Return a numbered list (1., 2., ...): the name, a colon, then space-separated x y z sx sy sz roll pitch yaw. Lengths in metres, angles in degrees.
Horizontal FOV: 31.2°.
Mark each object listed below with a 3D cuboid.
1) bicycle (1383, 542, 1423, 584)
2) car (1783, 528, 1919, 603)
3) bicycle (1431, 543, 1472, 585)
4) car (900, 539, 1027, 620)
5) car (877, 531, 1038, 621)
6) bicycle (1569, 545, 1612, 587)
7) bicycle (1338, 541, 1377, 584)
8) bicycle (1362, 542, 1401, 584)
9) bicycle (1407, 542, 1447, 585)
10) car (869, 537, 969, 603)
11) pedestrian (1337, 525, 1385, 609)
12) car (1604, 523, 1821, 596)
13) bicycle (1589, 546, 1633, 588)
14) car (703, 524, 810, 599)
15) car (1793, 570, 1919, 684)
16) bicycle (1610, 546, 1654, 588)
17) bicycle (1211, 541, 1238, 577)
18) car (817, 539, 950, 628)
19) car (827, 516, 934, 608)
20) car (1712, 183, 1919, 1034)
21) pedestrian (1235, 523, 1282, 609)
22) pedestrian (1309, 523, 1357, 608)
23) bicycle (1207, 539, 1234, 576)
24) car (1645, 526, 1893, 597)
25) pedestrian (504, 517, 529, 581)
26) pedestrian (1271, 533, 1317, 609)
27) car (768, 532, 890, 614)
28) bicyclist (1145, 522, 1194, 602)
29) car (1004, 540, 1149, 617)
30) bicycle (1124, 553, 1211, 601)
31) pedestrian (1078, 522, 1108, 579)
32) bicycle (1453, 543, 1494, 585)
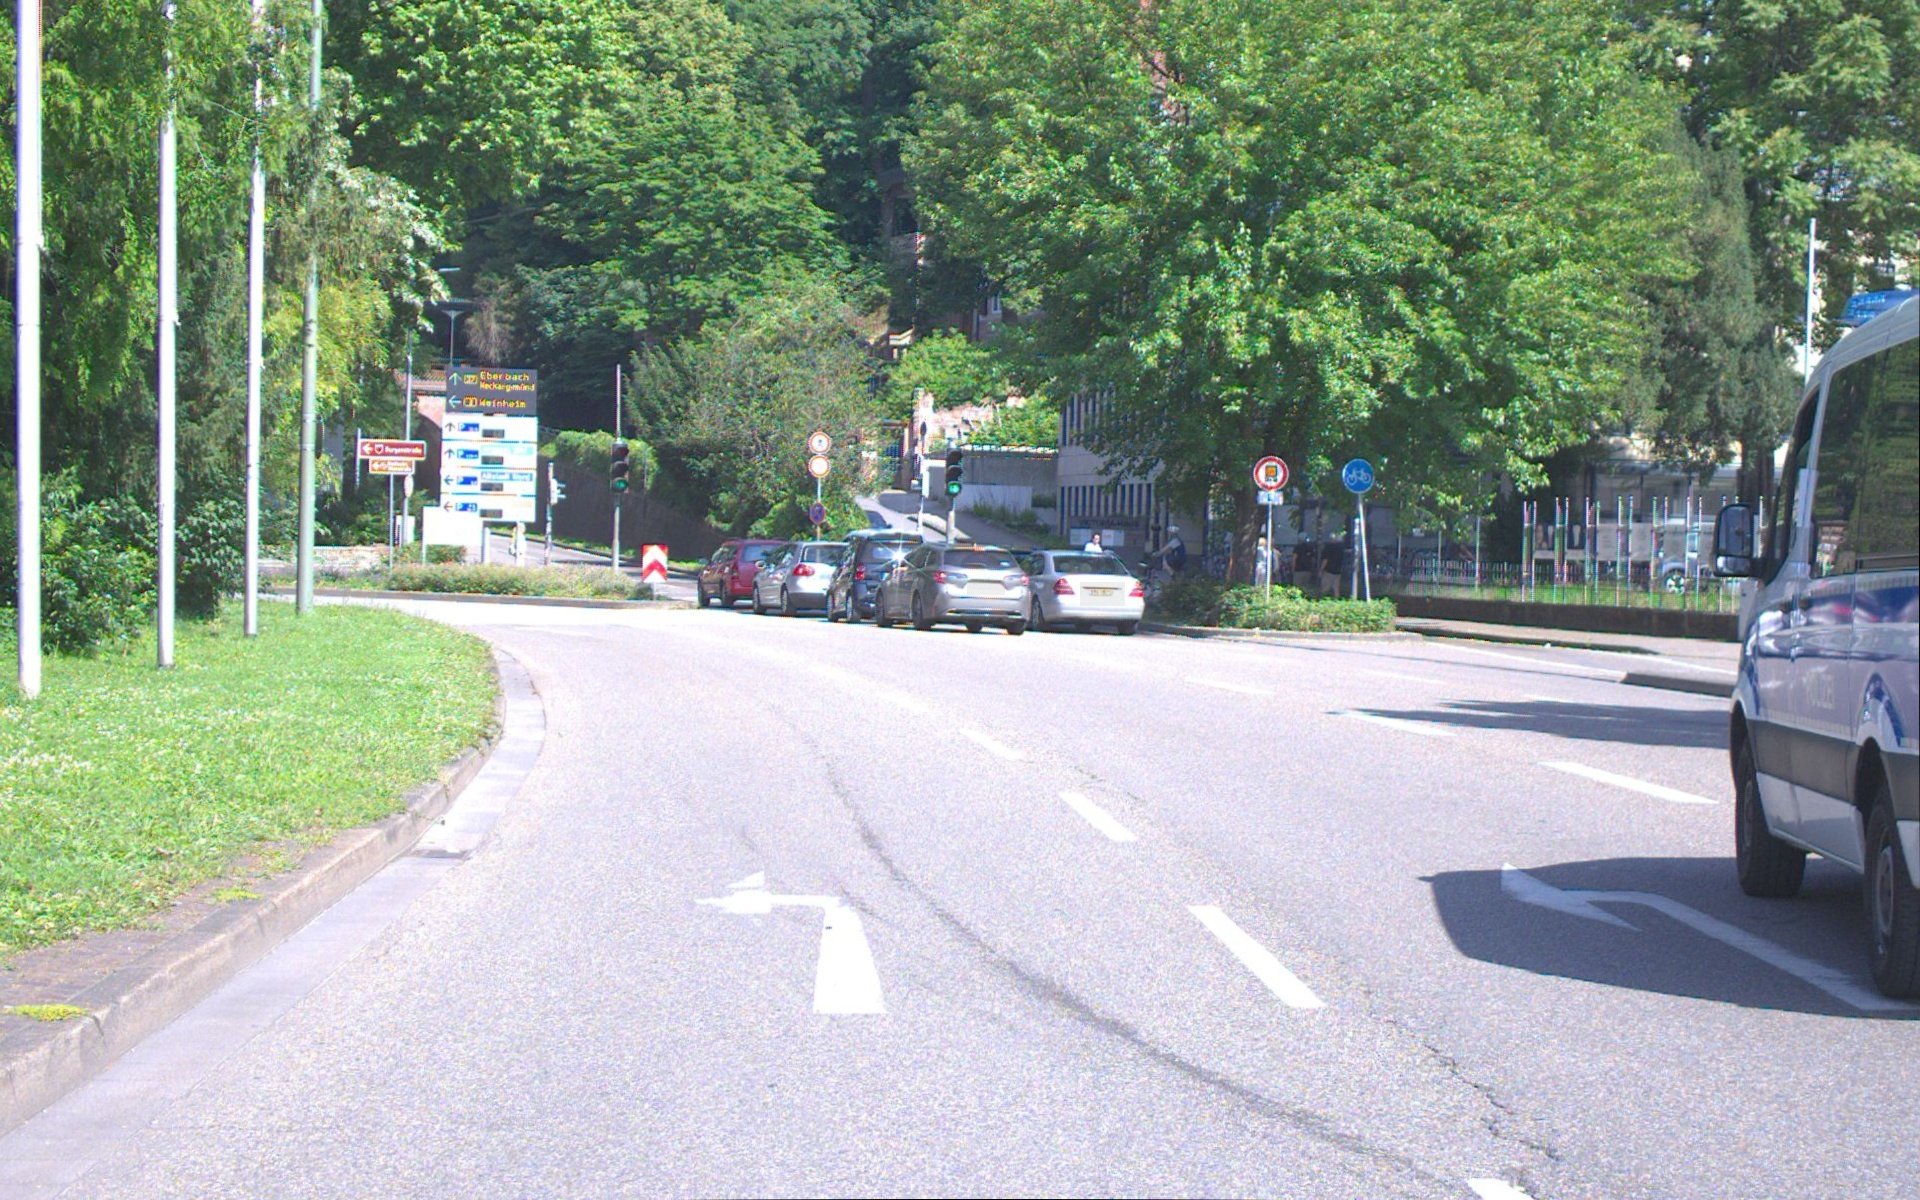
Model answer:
1. bicycle: 11.735 -0.981 91.042 0.537 1.081 1.835 1 1 -9
2. car: 17.788 -0.639 64.656 4.039 1.331 1.861 1 1 -13
3. bicycle: 13.034 -0.961 91.144 0.537 1.081 1.835 1 1 -9
4. car: 0.035 -0.415 67.247 1.755 1.456 3.647 2 1 -11
5. car: -0.079 -0.407 55.443 1.755 1.329 3.803 2 1 -13
6. bicycle: 16.764 -0.904 91.441 0.537 1.081 1.835 1 1 -9
7. bicycle: 10.510 -0.998 90.855 0.537 1.081 1.835 1 1 -9
8. bicycle: 11.148 -0.989 90.945 0.537 1.081 1.835 1 1 -9
9. bicycle: 12.365 -0.970 91.029 0.537 1.081 1.835 1 1 -9
10. car: -1.000 -0.719 82.058 1.755 1.456 3.495 2 1 -11
11. pedestrian: 8.996 -0.750 77.099 0.771 1.848 0.830 2 1 -12
12. car: 16.193 -0.878 74.009 4.141 1.470 1.878 1 1 -15
13. bicycle: 17.349 -0.897 91.607 0.537 1.081 1.835 1 1 -9
14. car: -4.303 -0.824 72.421 1.755 1.456 3.495 2 1 -11
15. car: 13.233 0.356 47.923 1.825 1.456 4.100 3 1 33
16. bicycle: 17.929 -0.889 91.737 0.537 1.081 1.835 1 1 -9
17. bicycle: 7.206 -1.119 93.699 0.405 0.938 1.342 1 2 -10
18. car: -1.391 -0.310 61.366 1.755 1.456 3.495 2 1 -11
19. car: -1.801 -0.862 76.647 1.755 1.931 3.495 2 1 -11
20. car: 4.080 0.032 12.403 2.074 2.500 4.928 2 1 6
21. pedestrian: 6.581 -0.755 75.833 0.771 1.848 0.830 2 1 -9
22. pedestrian: 8.249 -0.768 76.101 0.771 1.848 0.830 2 1 -12
23. bicycle: 7.238 -1.190 95.659 0.405 1.009 1.342 1 2 -10
24. car: 16.258 -0.776 69.153 4.465 1.331 1.822 1 1 -13
25. pedestrian: -11.380 -1.312 88.297 0.547 1.615 0.634 1 2 -2
26. pedestrian: 7.421 -0.641 76.410 0.771 1.657 0.830 2 1 -9
27. car: -2.559 -0.547 66.295 1.755 1.456 3.647 2 1 -11
28. bicyclist: 5.143 -0.947 84.536 1.126 1.926 0.748 2 1 2
29. car: 2.007 -0.393 60.062 1.755 1.209 3.495 2 1 -11
30. bicycle: 5.089 -0.558 84.541 2.076 1.109 0.757 2 1 2
31. pedestrian: 3.392 -1.266 87.756 0.489 1.453 0.734 1 1 -22
32. bicycle: 13.622 -0.953 91.256 0.537 1.081 1.835 1 1 -9
